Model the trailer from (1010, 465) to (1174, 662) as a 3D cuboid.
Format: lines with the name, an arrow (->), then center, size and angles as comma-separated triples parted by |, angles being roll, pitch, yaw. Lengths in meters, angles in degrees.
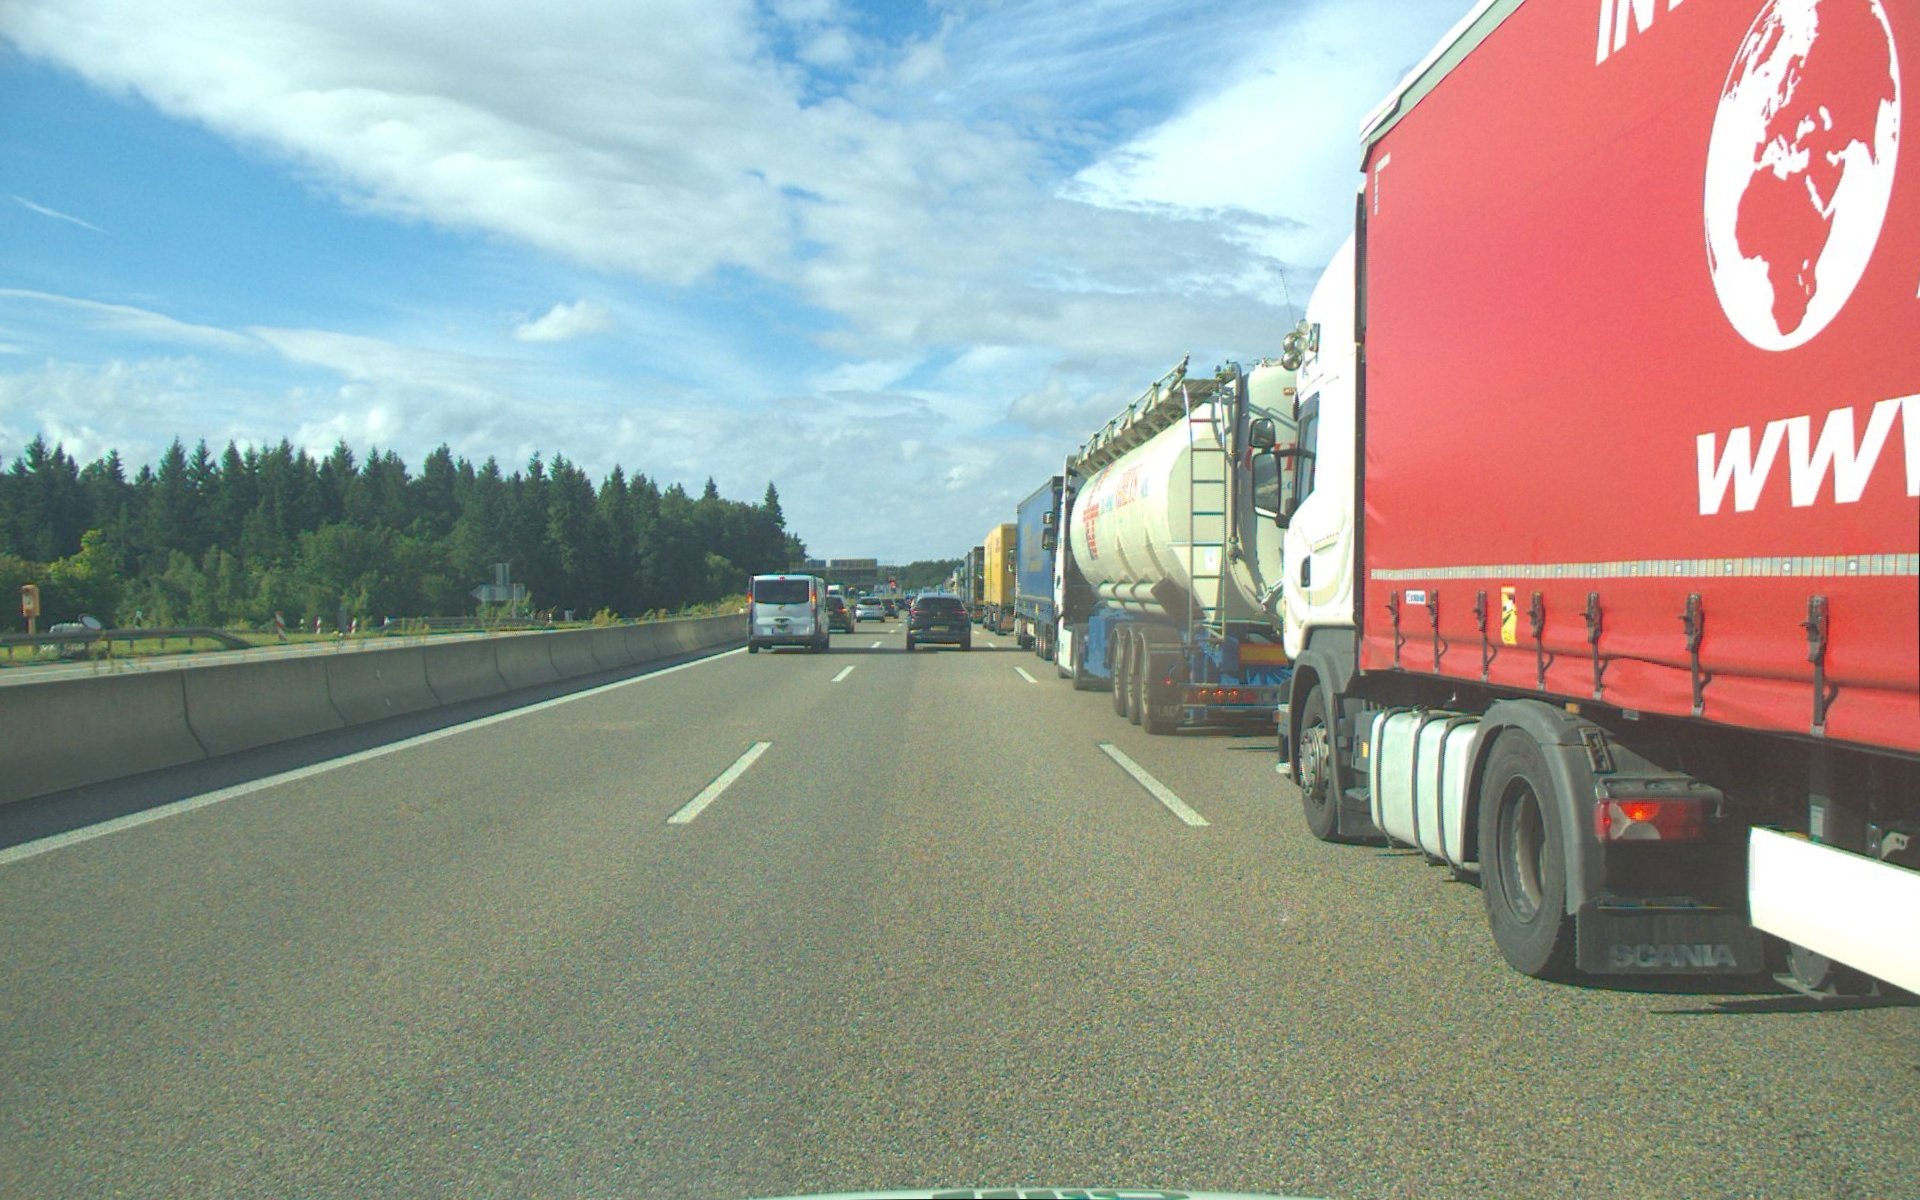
trailer -> 3.028, -0.750, 42.261 | 2.589, 4.169, 13.974 | 1, 0, -2

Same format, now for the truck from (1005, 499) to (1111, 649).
truck -> 2.822, -0.709, 49.575 | 2.594, 4.161, 6.489 | 1, 0, -1

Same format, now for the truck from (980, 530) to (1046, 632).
truck -> 2.228, -0.793, 72.991 | 2.363, 4.139, 9.662 | 1, 0, -1

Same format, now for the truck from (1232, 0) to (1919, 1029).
truck -> 3.174, -0.553, 8.829 | 2.317, 4.091, 6.104 | 0, 0, -1

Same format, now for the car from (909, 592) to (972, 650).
car -> -0.549, 0.569, 46.049 | 1.662, 1.509, 4.159 | 1, 0, -1

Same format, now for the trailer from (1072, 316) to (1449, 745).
trailer -> 3.216, -0.664, 21.181 | 2.592, 4.003, 11.172 | 1, 0, -1

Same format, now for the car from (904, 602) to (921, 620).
car -> -3.923, 0.909, 136.950 | 1.333, 1.420, 3.084 | 1, 0, -1

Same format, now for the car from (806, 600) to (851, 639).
car -> -5.065, 0.739, 64.049 | 1.469, 1.420, 3.475 | 1, 0, -1

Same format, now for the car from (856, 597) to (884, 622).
car -> -5.170, 0.535, 95.258 | 1.469, 1.420, 3.475 | 1, 0, -1

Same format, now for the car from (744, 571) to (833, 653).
car -> -4.486, 0.314, 43.951 | 1.893, 2.013, 5.097 | 1, 0, -1

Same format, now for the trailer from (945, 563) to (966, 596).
trailer -> -0.588, -2.773, 232.380 | 2.745, 4.318, 11.056 | -3, 0, 0

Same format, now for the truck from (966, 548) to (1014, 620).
truck -> 1.753, -0.874, 100.563 | 2.684, 4.109, 10.202 | 1, 0, 0

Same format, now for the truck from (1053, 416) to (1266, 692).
truck -> 3.126, -0.660, 27.735 | 2.595, 3.994, 6.940 | 1, 0, -1

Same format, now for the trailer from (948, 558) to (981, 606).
trailer -> 0.348, -1.456, 144.823 | 2.607, 3.936, 13.392 | -2, 0, -1

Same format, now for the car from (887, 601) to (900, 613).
car -> -7.554, 0.816, 188.510 | 1.405, 1.333, 3.532 | 1, 0, -1

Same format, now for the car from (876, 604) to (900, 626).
car -> -5.011, 1.037, 115.320 | 1.549, 1.420, 3.207 | 1, 0, -1

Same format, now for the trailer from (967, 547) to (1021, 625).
trailer -> 1.809, -0.773, 91.093 | 2.660, 4.030, 8.710 | 1, 0, -1

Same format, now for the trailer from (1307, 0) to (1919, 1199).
trailer -> 3.295, -0.569, 2.456 | 2.281, 4.067, 14.295 | 0, 0, -1

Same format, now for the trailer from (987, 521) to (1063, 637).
trailer -> 2.397, -0.761, 63.683 | 2.363, 4.140, 8.924 | 1, 0, -1
